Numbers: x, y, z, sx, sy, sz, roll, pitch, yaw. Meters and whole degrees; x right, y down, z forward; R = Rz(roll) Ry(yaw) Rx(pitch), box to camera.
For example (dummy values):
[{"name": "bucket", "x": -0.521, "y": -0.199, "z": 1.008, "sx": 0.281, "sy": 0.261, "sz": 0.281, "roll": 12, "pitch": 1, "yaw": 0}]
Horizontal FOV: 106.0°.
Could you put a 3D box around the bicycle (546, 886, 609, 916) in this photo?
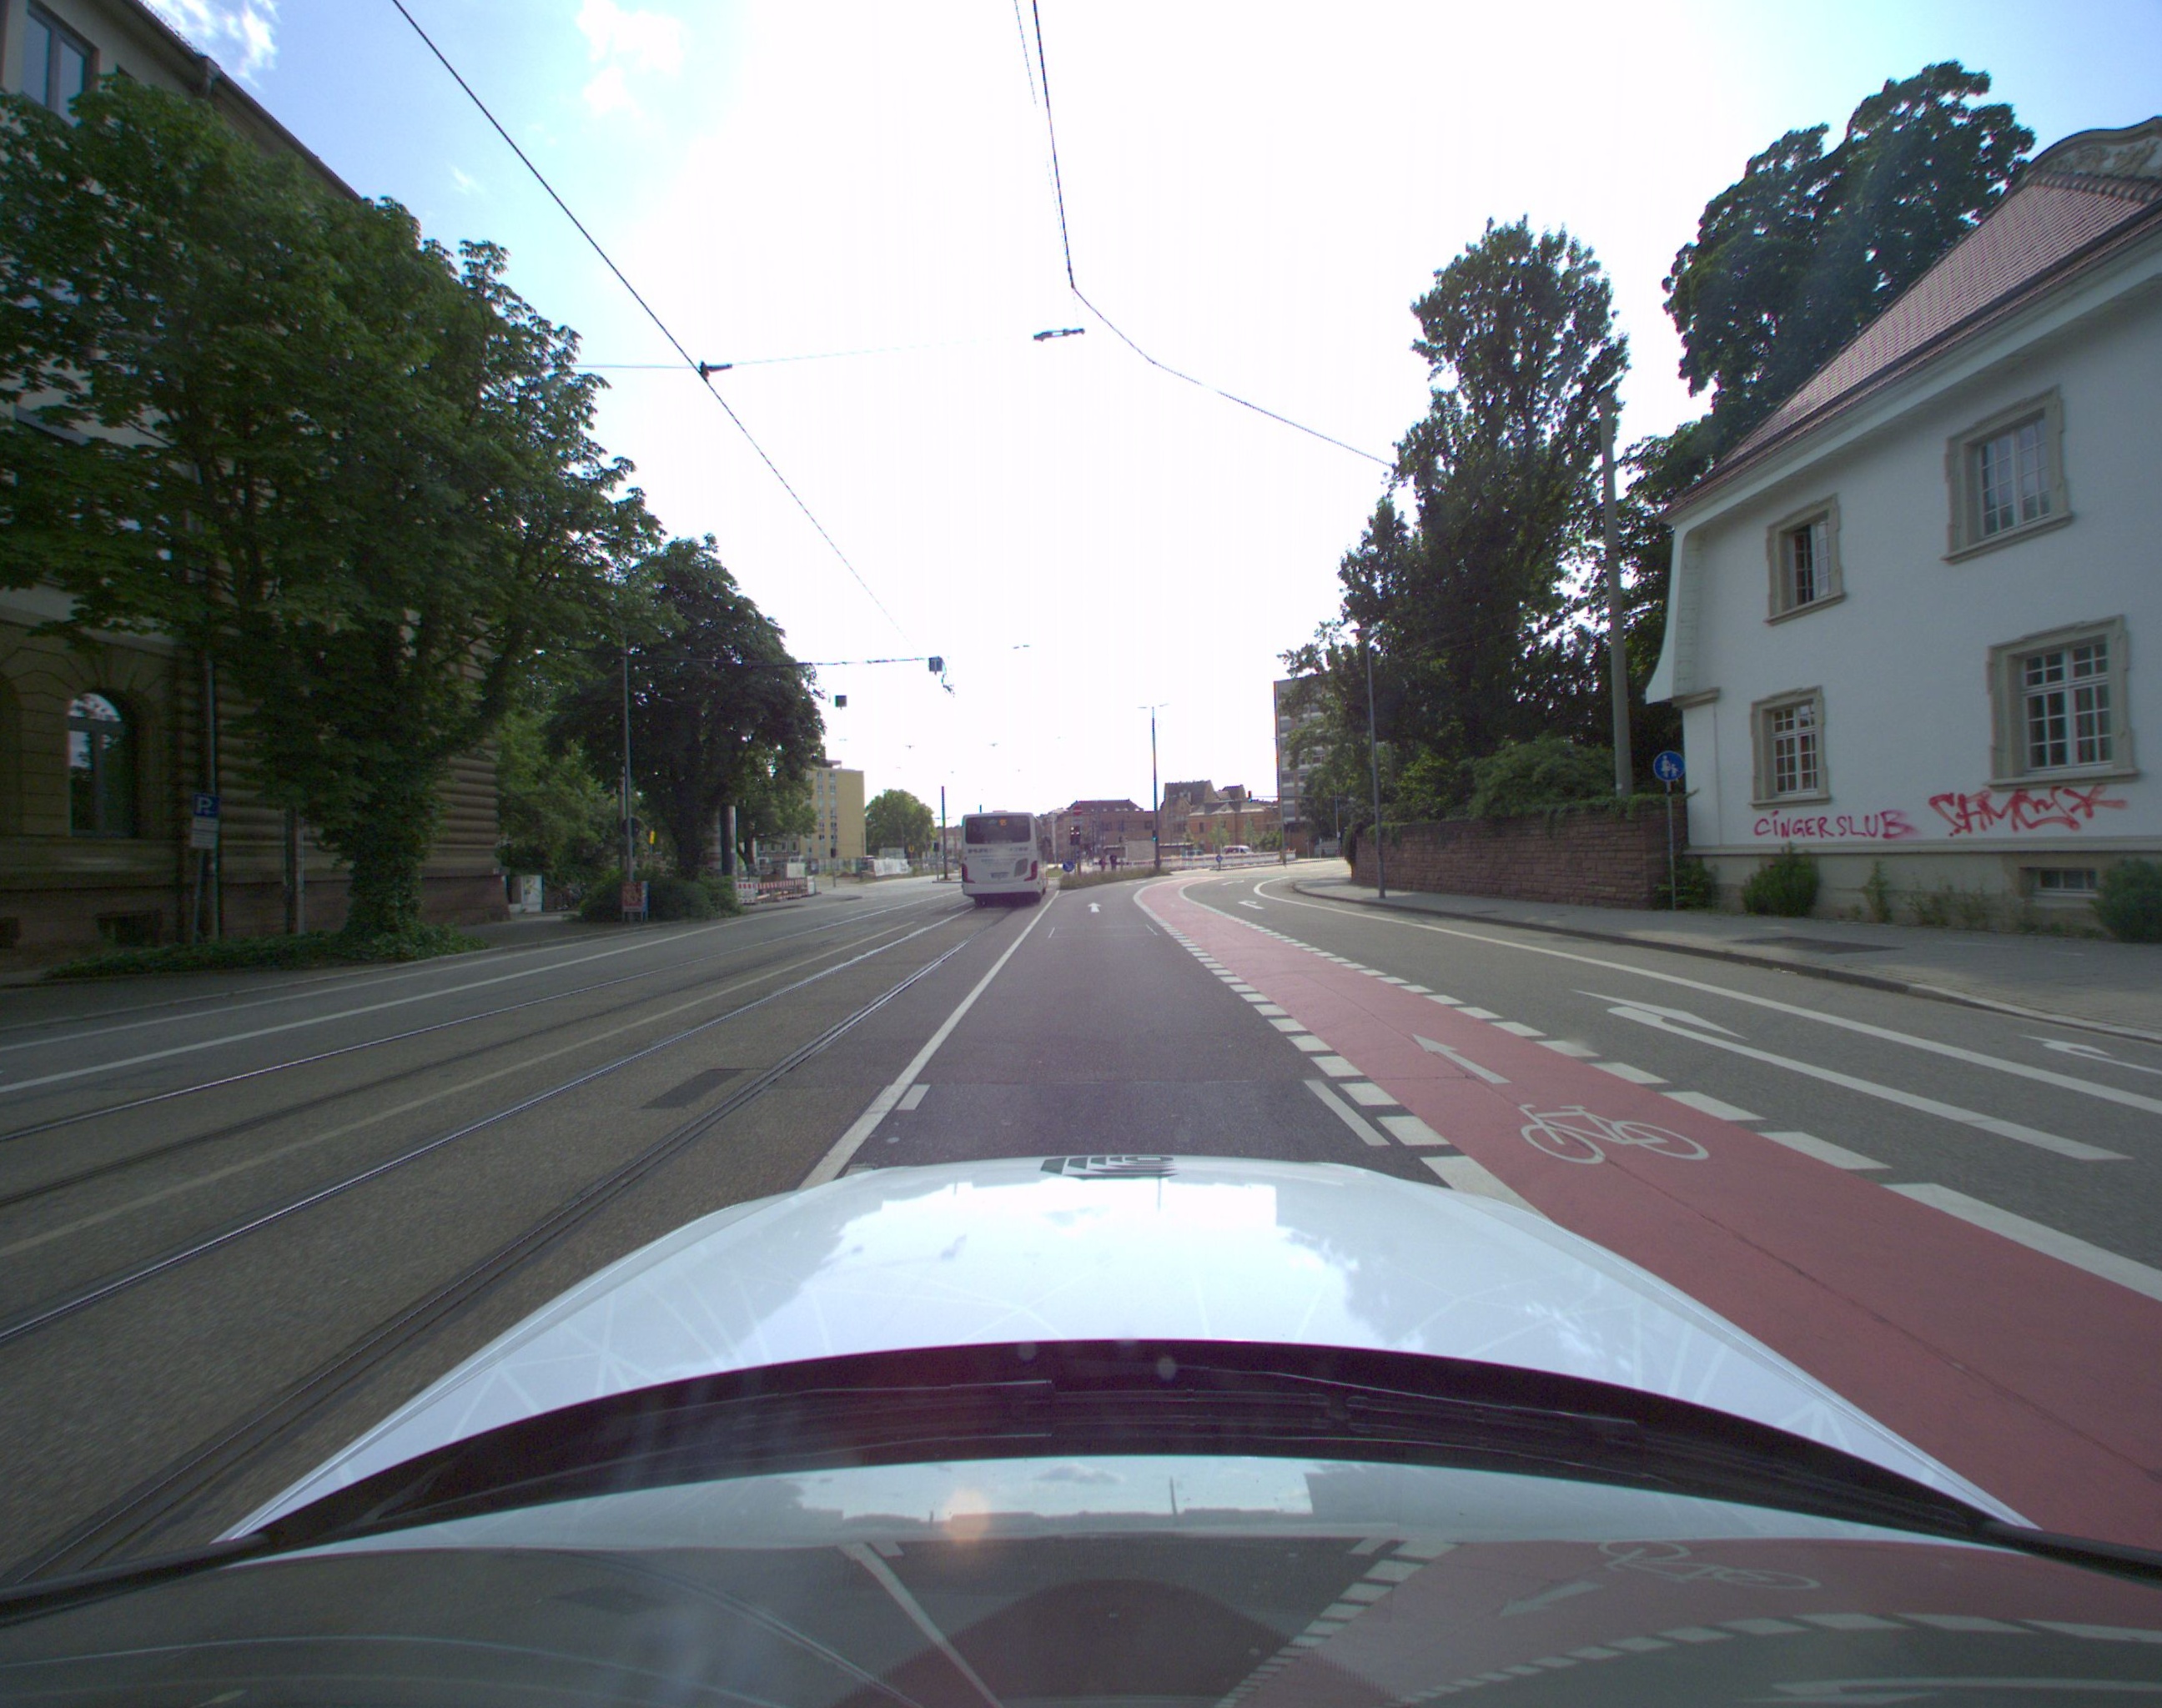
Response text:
[{"name": "bicycle", "x": -20.842, "y": 1.954, "z": 33.735, "sx": 2.108, "sy": 1.168, "sz": 0.729, "roll": -1, "pitch": -1, "yaw": -2}]

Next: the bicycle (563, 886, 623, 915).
[{"name": "bicycle", "x": -20.911, "y": 1.969, "z": 34.932, "sx": 2.108, "sy": 1.168, "sz": 0.729, "roll": -1, "pitch": -1, "yaw": -2}]

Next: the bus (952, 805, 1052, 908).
[{"name": "bus", "x": -2.805, "y": 0.149, "z": 32.801, "sx": 2.909, "sy": 3.328, "sz": 12.201, "roll": -1, "pitch": -1, "yaw": -1}]

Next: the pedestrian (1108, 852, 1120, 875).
[{"name": "pedestrian", "x": 2.701, "y": 0.773, "z": 66.619, "sx": 0.794, "sy": 1.885, "sz": 0.609, "roll": -2, "pitch": -1, "yaw": -21}]

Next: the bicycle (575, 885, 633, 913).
[{"name": "bicycle", "x": -20.969, "y": 1.981, "z": 35.827, "sx": 2.108, "sy": 1.168, "sz": 0.729, "roll": -1, "pitch": -1, "yaw": -2}]

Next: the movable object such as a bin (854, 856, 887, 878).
[{"name": "movable object such as a bin", "x": -25.324, "y": 1.555, "z": 98.110, "sx": 2.631, "sy": 2.574, "sz": 4.002, "roll": -2, "pitch": -1, "yaw": 2}]

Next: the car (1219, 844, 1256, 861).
[{"name": "car", "x": 24.421, "y": -0.207, "z": 127.062, "sx": 2.312, "sy": 2.319, "sz": 5.527, "roll": -1, "pitch": -1, "yaw": -36}]

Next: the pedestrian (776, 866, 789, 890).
[{"name": "pedestrian", "x": -21.754, "y": 1.750, "z": 59.372, "sx": 0.788, "sy": 1.652, "sz": 0.577, "roll": -2, "pitch": -1, "yaw": -17}]

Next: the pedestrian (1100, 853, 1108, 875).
[{"name": "pedestrian", "x": 1.874, "y": 0.796, "z": 66.064, "sx": 0.404, "sy": 1.736, "sz": 0.625, "roll": -2, "pitch": -1, "yaw": 26}]

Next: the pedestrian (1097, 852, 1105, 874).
[{"name": "pedestrian", "x": 1.610, "y": 0.706, "z": 65.083, "sx": 0.609, "sy": 1.706, "sz": 0.623, "roll": -2, "pitch": -1, "yaw": 1}]
